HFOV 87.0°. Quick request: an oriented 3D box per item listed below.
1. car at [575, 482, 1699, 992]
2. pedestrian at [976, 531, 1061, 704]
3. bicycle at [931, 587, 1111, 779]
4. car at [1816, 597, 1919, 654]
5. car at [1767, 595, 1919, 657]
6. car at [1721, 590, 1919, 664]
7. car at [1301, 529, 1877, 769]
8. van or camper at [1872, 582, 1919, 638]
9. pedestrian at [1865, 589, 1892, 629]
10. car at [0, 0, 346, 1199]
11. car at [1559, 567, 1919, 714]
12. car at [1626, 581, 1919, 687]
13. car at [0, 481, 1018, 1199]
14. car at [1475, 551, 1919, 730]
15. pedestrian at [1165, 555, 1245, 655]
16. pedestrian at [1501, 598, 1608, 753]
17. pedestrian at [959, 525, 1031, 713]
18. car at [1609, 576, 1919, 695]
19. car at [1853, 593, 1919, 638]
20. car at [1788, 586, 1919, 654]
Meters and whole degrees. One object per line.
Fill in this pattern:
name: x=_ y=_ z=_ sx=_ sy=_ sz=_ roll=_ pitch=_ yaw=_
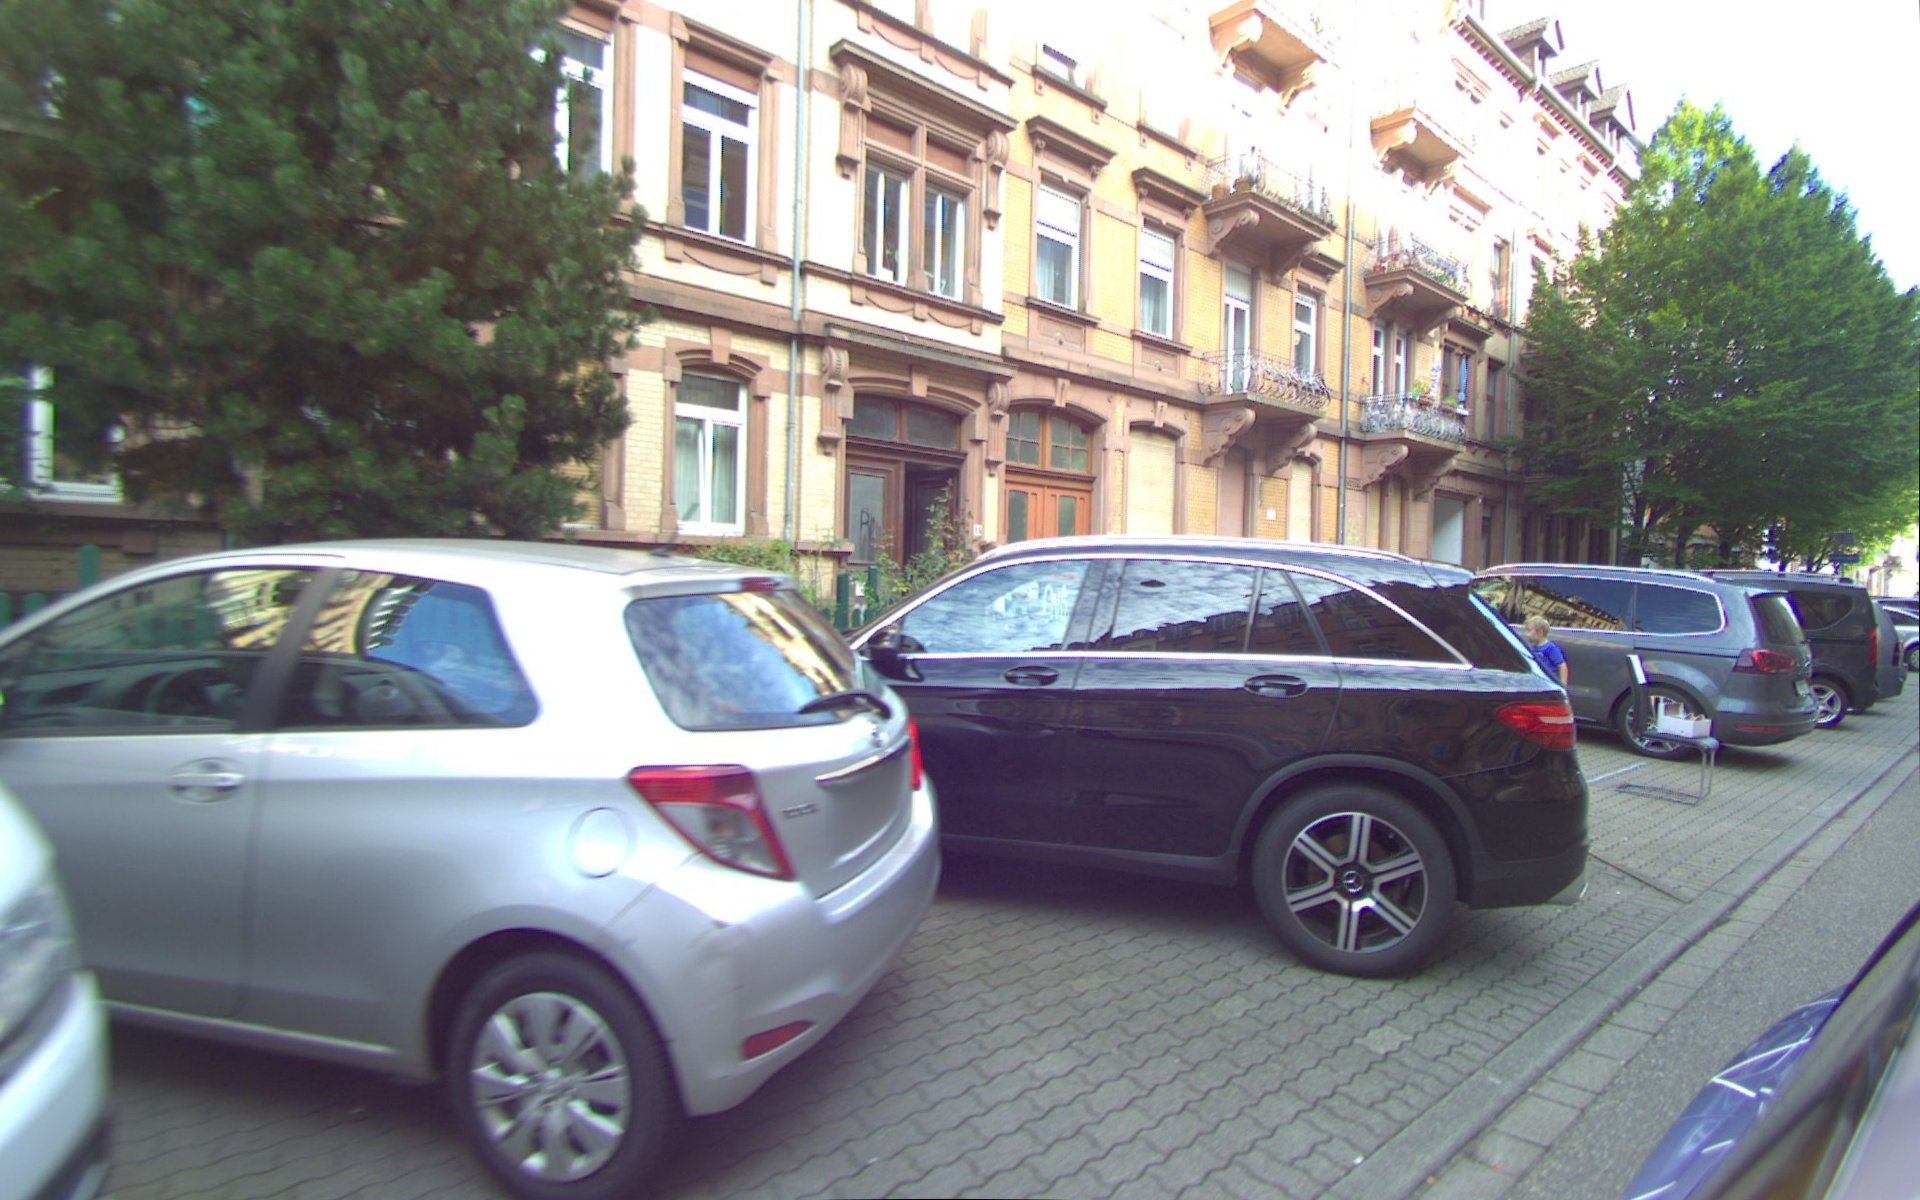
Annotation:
car: x=0.631 y=0.420 z=4.999 sx=4.392 sy=1.754 sz=1.991 roll=1 pitch=0 yaw=14
pedestrian: x=0.594 y=0.170 z=10.285 sx=0.621 sy=1.680 sz=0.574 roll=1 pitch=0 yaw=-41
bicycle: x=0.513 y=0.510 z=7.412 sx=0.800 sy=1.160 sz=1.924 roll=3 pitch=2 yaw=19
car: x=27.799 y=0.731 z=29.384 sx=4.062 sy=1.540 sz=1.838 roll=1 pitch=1 yaw=13
car: x=23.450 y=0.674 z=25.765 sx=4.076 sy=1.435 sz=1.861 roll=2 pitch=1 yaw=14
car: x=20.922 y=0.633 z=23.655 sx=4.550 sy=1.469 sz=1.784 roll=4 pitch=2 yaw=17
car: x=6.170 y=0.314 z=10.447 sx=1.778 sy=1.806 sz=4.646 roll=3 pitch=2 yaw=-42
van or camper: x=39.233 y=0.393 z=40.206 sx=3.948 sy=2.206 sz=1.988 roll=1 pitch=0 yaw=19
pedestrian: x=42.701 y=0.404 z=47.056 sx=0.753 sy=1.759 sz=0.937 roll=6 pitch=4 yaw=44
car: x=-3.622 y=0.075 z=1.300 sx=5.088 sy=2.435 sz=1.909 roll=3 pitch=2 yaw=16
car: x=11.199 y=0.500 z=14.644 sx=3.948 sy=1.762 sz=1.829 roll=3 pitch=2 yaw=18
car: x=14.800 y=0.555 z=18.497 sx=3.947 sy=1.468 sz=1.728 roll=5 pitch=4 yaw=17
car: x=-2.032 y=0.511 z=3.414 sx=4.175 sy=1.569 sz=1.865 roll=1 pitch=0 yaw=14
car: x=9.273 y=0.406 z=13.041 sx=4.345 sy=1.844 sz=1.746 roll=4 pitch=3 yaw=17
pedestrian: x=3.934 y=0.067 z=16.259 sx=0.927 sy=1.515 sz=0.800 roll=3 pitch=2 yaw=42
pedestrian: x=5.182 y=0.650 z=8.838 sx=0.498 sy=1.266 sz=0.473 roll=3 pitch=4 yaw=-12
pedestrian: x=0.347 y=0.168 z=9.635 sx=0.637 sy=1.716 sz=0.698 roll=1 pitch=0 yaw=5
car: x=13.161 y=0.522 z=16.391 sx=3.939 sy=1.567 sz=1.863 roll=4 pitch=2 yaw=12
car: x=37.417 y=0.689 z=38.479 sx=4.743 sy=1.562 sz=1.861 roll=4 pitch=3 yaw=17
car: x=25.550 y=0.565 z=27.738 sx=3.942 sy=1.720 sz=1.844 roll=2 pitch=1 yaw=14
